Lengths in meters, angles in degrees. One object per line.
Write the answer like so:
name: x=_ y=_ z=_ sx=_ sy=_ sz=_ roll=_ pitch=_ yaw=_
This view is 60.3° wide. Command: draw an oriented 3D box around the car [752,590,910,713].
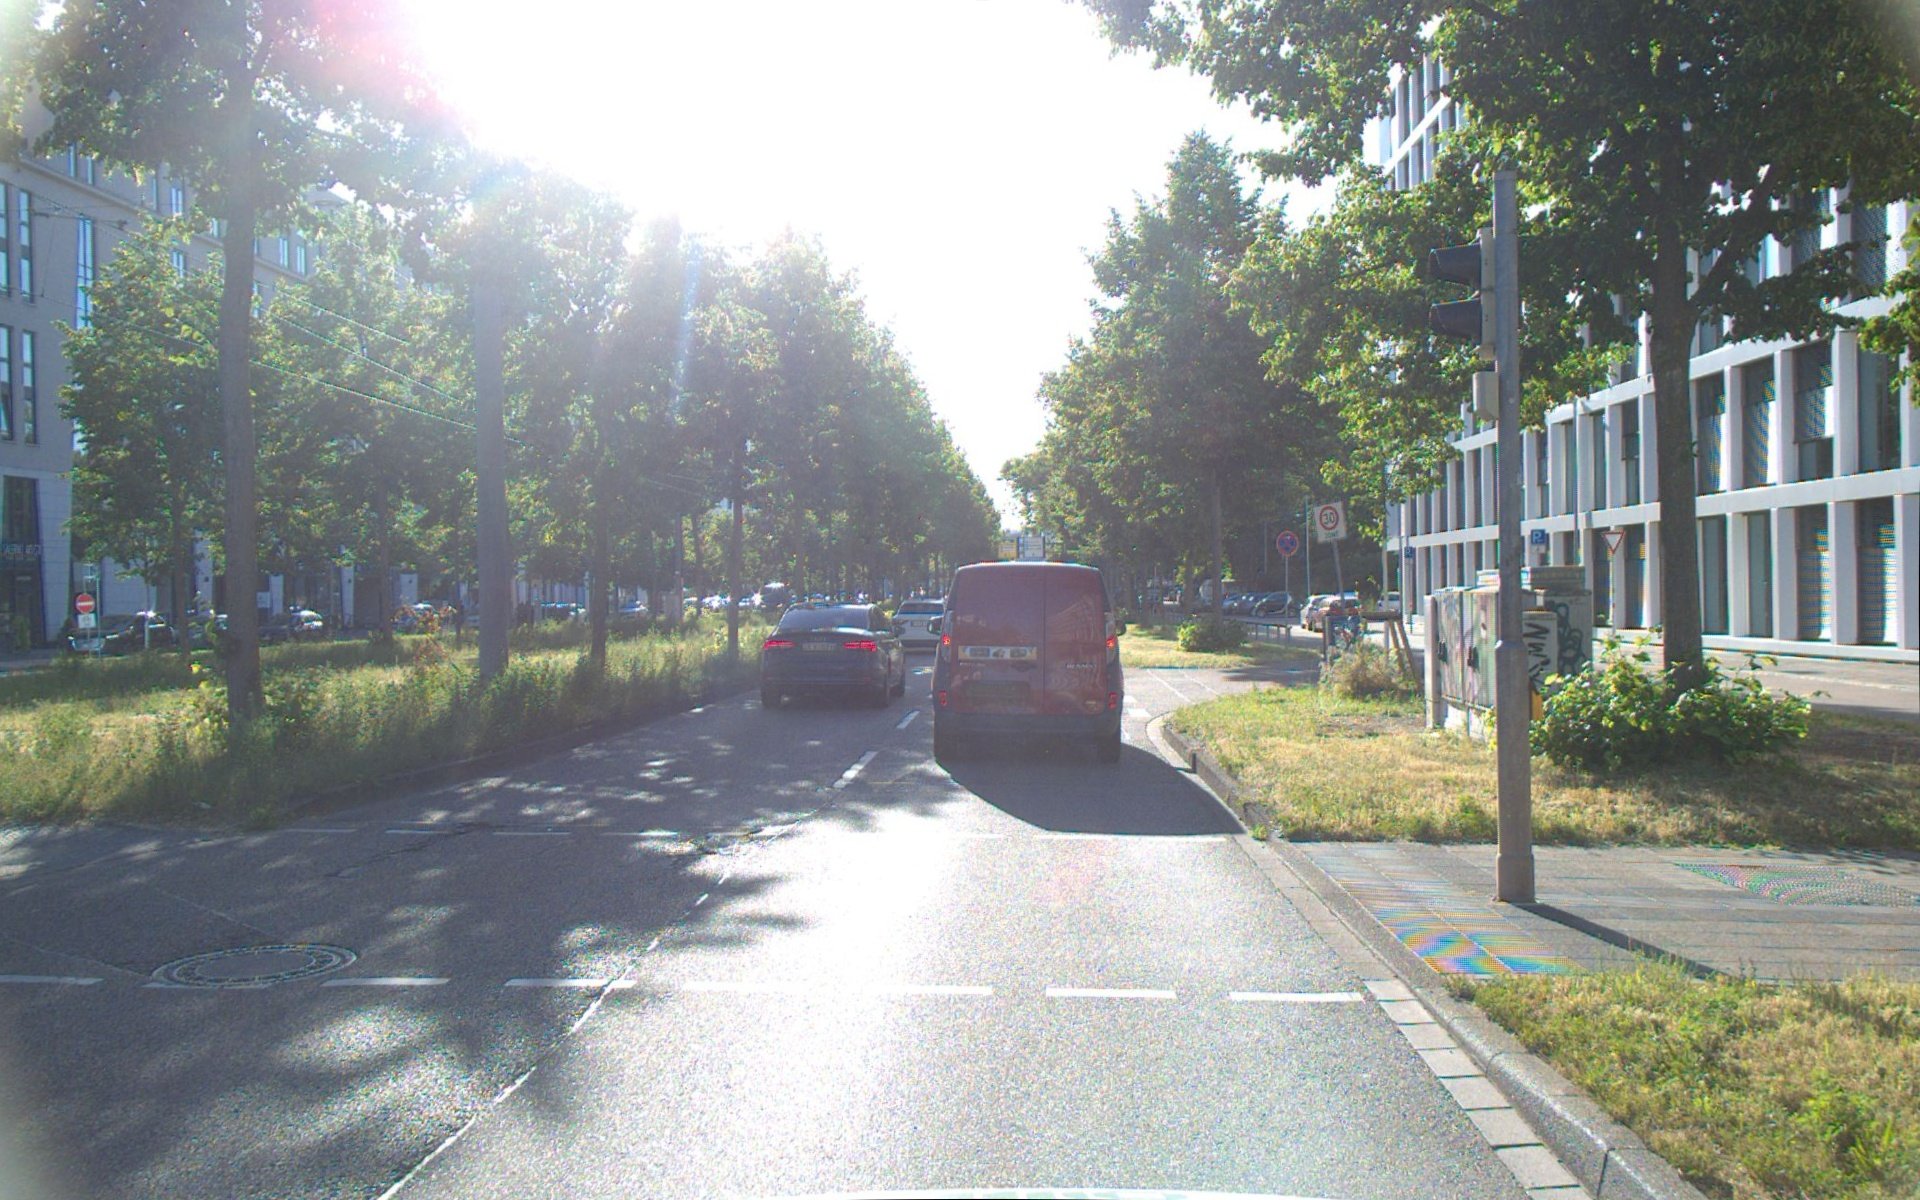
car: x=-1.731 y=0.655 z=23.376 sx=1.770 sy=1.554 sz=4.114 roll=-1 pitch=0 yaw=2

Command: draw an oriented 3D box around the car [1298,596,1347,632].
car: x=16.444 y=0.625 z=75.111 sx=1.781 sy=1.559 sz=3.439 roll=-1 pitch=0 yaw=6

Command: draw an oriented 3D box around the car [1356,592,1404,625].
car: x=23.819 y=0.488 z=93.926 sx=1.951 sy=1.847 sz=4.002 roll=0 pitch=0 yaw=4

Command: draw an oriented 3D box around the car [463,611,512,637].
car: x=-26.845 y=1.341 z=94.079 sx=1.547 sy=1.366 sz=3.713 roll=-1 pitch=0 yaw=2

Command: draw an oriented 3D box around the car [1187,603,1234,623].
car: x=18.330 y=0.967 z=121.046 sx=3.326 sy=1.382 sz=1.472 roll=-1 pitch=0 yaw=9

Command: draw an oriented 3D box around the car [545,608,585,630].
car: x=-25.392 y=1.213 z=106.366 sx=1.547 sy=1.366 sz=3.713 roll=-1 pitch=0 yaw=2

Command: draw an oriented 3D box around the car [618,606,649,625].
car: x=-25.092 y=1.185 z=127.134 sx=1.547 sy=1.366 sz=3.713 roll=-1 pitch=0 yaw=2

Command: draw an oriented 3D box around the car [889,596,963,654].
car: x=-0.869 y=0.630 z=44.311 sx=1.770 sy=1.460 sz=4.114 roll=-1 pitch=0 yaw=2

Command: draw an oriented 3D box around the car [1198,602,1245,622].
car: x=18.684 y=0.851 z=118.237 sx=3.326 sy=1.382 sz=1.472 roll=-1 pitch=0 yaw=9

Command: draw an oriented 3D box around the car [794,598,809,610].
car: x=-21.437 y=0.523 z=223.709 sx=1.568 sy=1.583 sz=4.001 roll=-1 pitch=0 yaw=2

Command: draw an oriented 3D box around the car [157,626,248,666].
car: x=-28.099 y=1.675 z=61.485 sx=1.547 sy=1.366 sz=3.713 roll=-1 pitch=0 yaw=2

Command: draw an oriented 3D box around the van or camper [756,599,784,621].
van or camper: x=-15.964 y=0.824 z=138.909 sx=1.782 sy=1.768 sz=3.713 roll=-1 pitch=0 yaw=2

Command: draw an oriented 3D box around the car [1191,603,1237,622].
car: x=18.926 y=0.908 z=123.326 sx=3.326 sy=1.382 sz=1.472 roll=-1 pitch=0 yaw=9

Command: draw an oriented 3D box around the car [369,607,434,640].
car: x=-27.273 y=1.138 z=80.855 sx=1.739 sy=1.555 sz=3.807 roll=-1 pitch=0 yaw=2

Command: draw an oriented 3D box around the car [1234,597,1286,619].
car: x=19.776 y=0.519 z=109.144 sx=3.326 sy=1.382 sz=1.472 roll=-1 pitch=0 yaw=9

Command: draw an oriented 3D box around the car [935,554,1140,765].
car: x=0.663 y=0.514 z=16.427 sx=1.771 sy=1.826 sz=4.112 roll=0 pitch=0 yaw=0

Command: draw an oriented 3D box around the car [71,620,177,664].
car: x=-28.122 y=1.396 z=55.758 sx=1.547 sy=1.366 sz=3.713 roll=-1 pitch=0 yaw=2

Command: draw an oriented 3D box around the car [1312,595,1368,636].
car: x=16.106 y=0.628 z=70.202 sx=1.721 sy=1.640 sz=3.905 roll=-1 pitch=0 yaw=4

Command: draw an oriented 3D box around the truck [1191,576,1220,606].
truck: x=20.856 y=-0.732 z=140.964 sx=1.793 sy=2.545 sz=5.934 roll=-1 pitch=0 yaw=2

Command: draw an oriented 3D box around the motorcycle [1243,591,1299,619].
motorcycle: x=19.061 y=0.303 z=101.553 sx=3.326 sy=1.692 sz=1.472 roll=-1 pitch=0 yaw=9
